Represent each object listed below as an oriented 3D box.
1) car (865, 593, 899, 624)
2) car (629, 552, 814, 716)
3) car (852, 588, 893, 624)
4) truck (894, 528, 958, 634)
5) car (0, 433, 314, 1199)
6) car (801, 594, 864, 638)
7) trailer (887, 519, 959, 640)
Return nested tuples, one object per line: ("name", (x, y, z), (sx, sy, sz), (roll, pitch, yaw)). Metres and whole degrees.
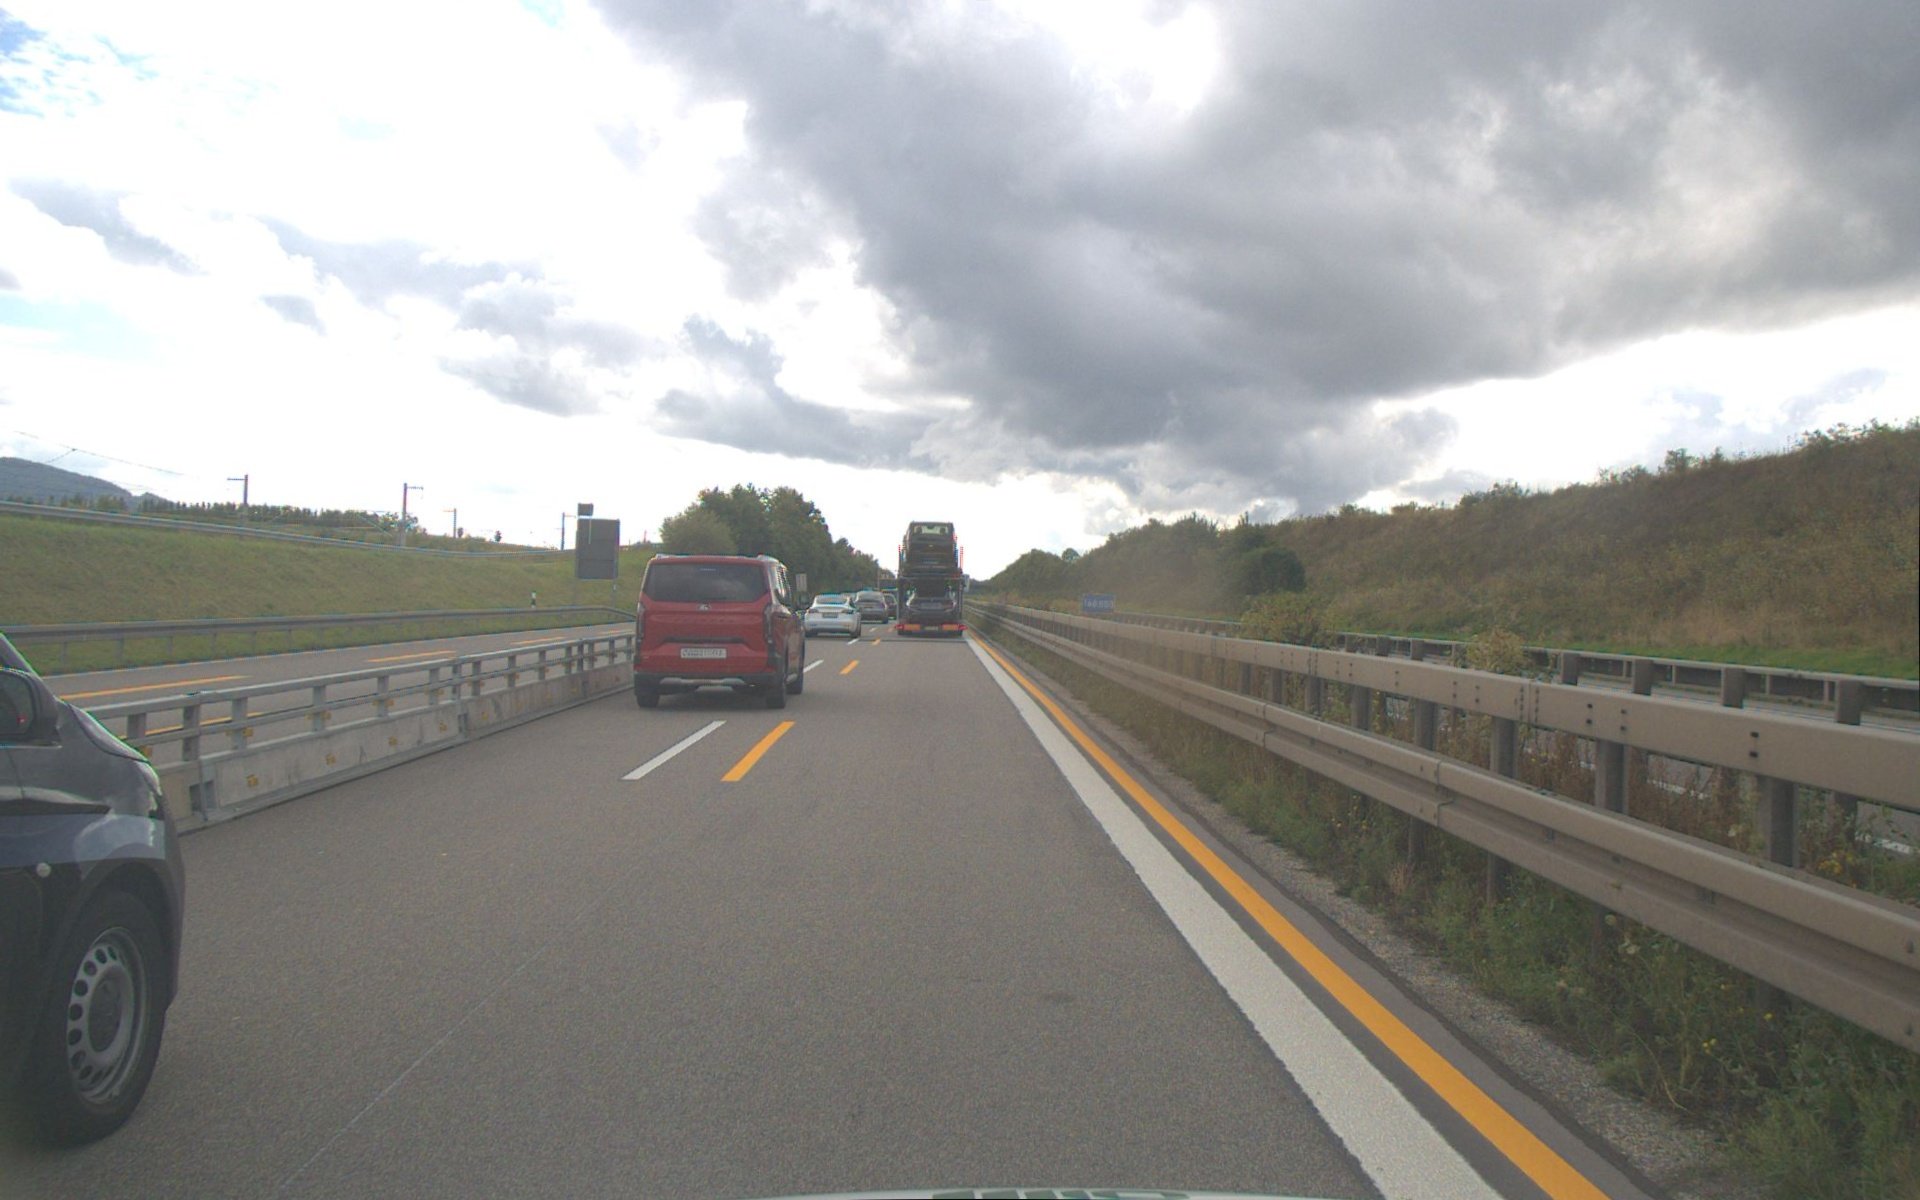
("car", (-4.608, 0.497, 98.229), (1.990, 1.788, 4.576), (0, 0, -2))
("car", (-3.188, 0.424, 23.006), (1.990, 2.049, 4.577), (0, 0, -1))
("car", (-4.483, 0.320, 85.018), (1.990, 1.788, 4.576), (0, 0, -2))
("truck", (-1.354, -0.746, 68.158), (2.464, 4.177, 5.684), (1, 0, -1))
("car", (-3.145, 0.556, 2.836), (1.953, 1.875, 5.608), (0, 0, -1))
("car", (-4.415, 0.539, 57.860), (1.990, 1.456, 4.576), (0, 0, -2))
("trailer", (-1.321, -0.721, 63.237), (2.464, 4.177, 11.111), (1, 0, 0))
